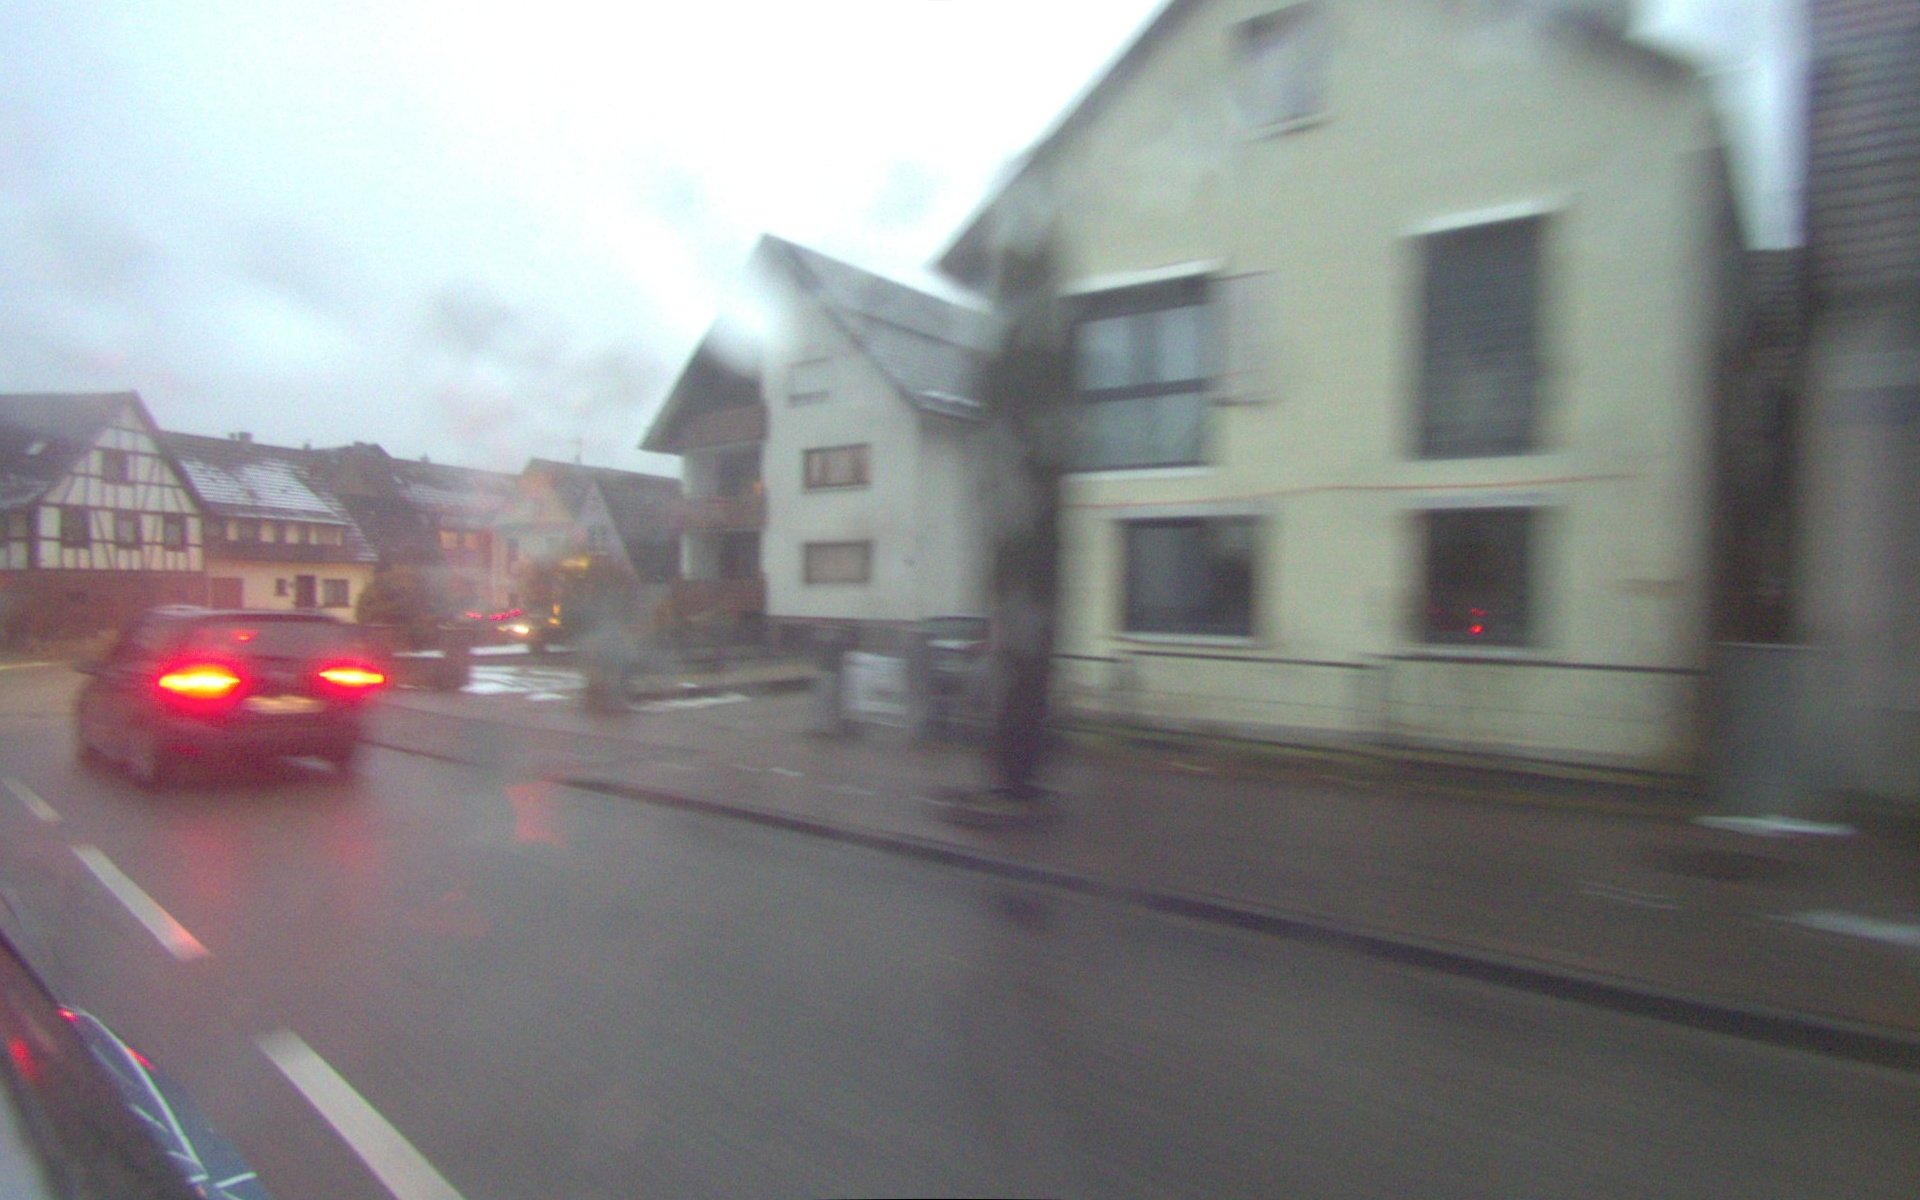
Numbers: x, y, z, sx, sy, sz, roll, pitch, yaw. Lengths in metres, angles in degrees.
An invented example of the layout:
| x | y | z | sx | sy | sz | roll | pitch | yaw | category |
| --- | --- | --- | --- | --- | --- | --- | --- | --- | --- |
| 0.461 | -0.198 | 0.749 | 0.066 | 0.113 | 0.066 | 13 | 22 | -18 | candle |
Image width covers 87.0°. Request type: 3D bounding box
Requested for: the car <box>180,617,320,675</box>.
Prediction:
| x | y | z | sx | sy | sz | roll | pitch | yaw | category |
| --- | --- | --- | --- | --- | --- | --- | --- | --- | --- |
| -21.629 | 1.354 | 31.084 | 1.852 | 1.625 | 4.613 | 1 | -1 | -12 | car |

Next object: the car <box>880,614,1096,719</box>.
| x | y | z | sx | sy | sz | roll | pitch | yaw | category |
| --- | --- | --- | --- | --- | --- | --- | --- | --- | --- |
| 0.587 | 0.996 | 16.787 | 1.815 | 1.473 | 3.955 | -1 | -1 | 33 | car |

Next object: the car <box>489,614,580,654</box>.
| x | y | z | sx | sy | sz | roll | pitch | yaw | category |
| --- | --- | --- | --- | --- | --- | --- | --- | --- | --- |
| -22.727 | 1.821 | 54.281 | 2.042 | 2.073 | 4.777 | 0 | -2 | 15 | car |

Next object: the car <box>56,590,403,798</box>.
| x | y | z | sx | sy | sz | roll | pitch | yaw | category |
| --- | --- | --- | --- | --- | --- | --- | --- | --- | --- |
| -7.407 | 0.809 | 10.128 | 3.996 | 1.666 | 1.893 | -2 | -1 | 40 | car |

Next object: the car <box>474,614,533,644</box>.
| x | y | z | sx | sy | sz | roll | pitch | yaw | category |
| --- | --- | --- | --- | --- | --- | --- | --- | --- | --- |
| -27.759 | 1.747 | 61.493 | 3.482 | 1.517 | 1.630 | 3 | 1 | 34 | car |
